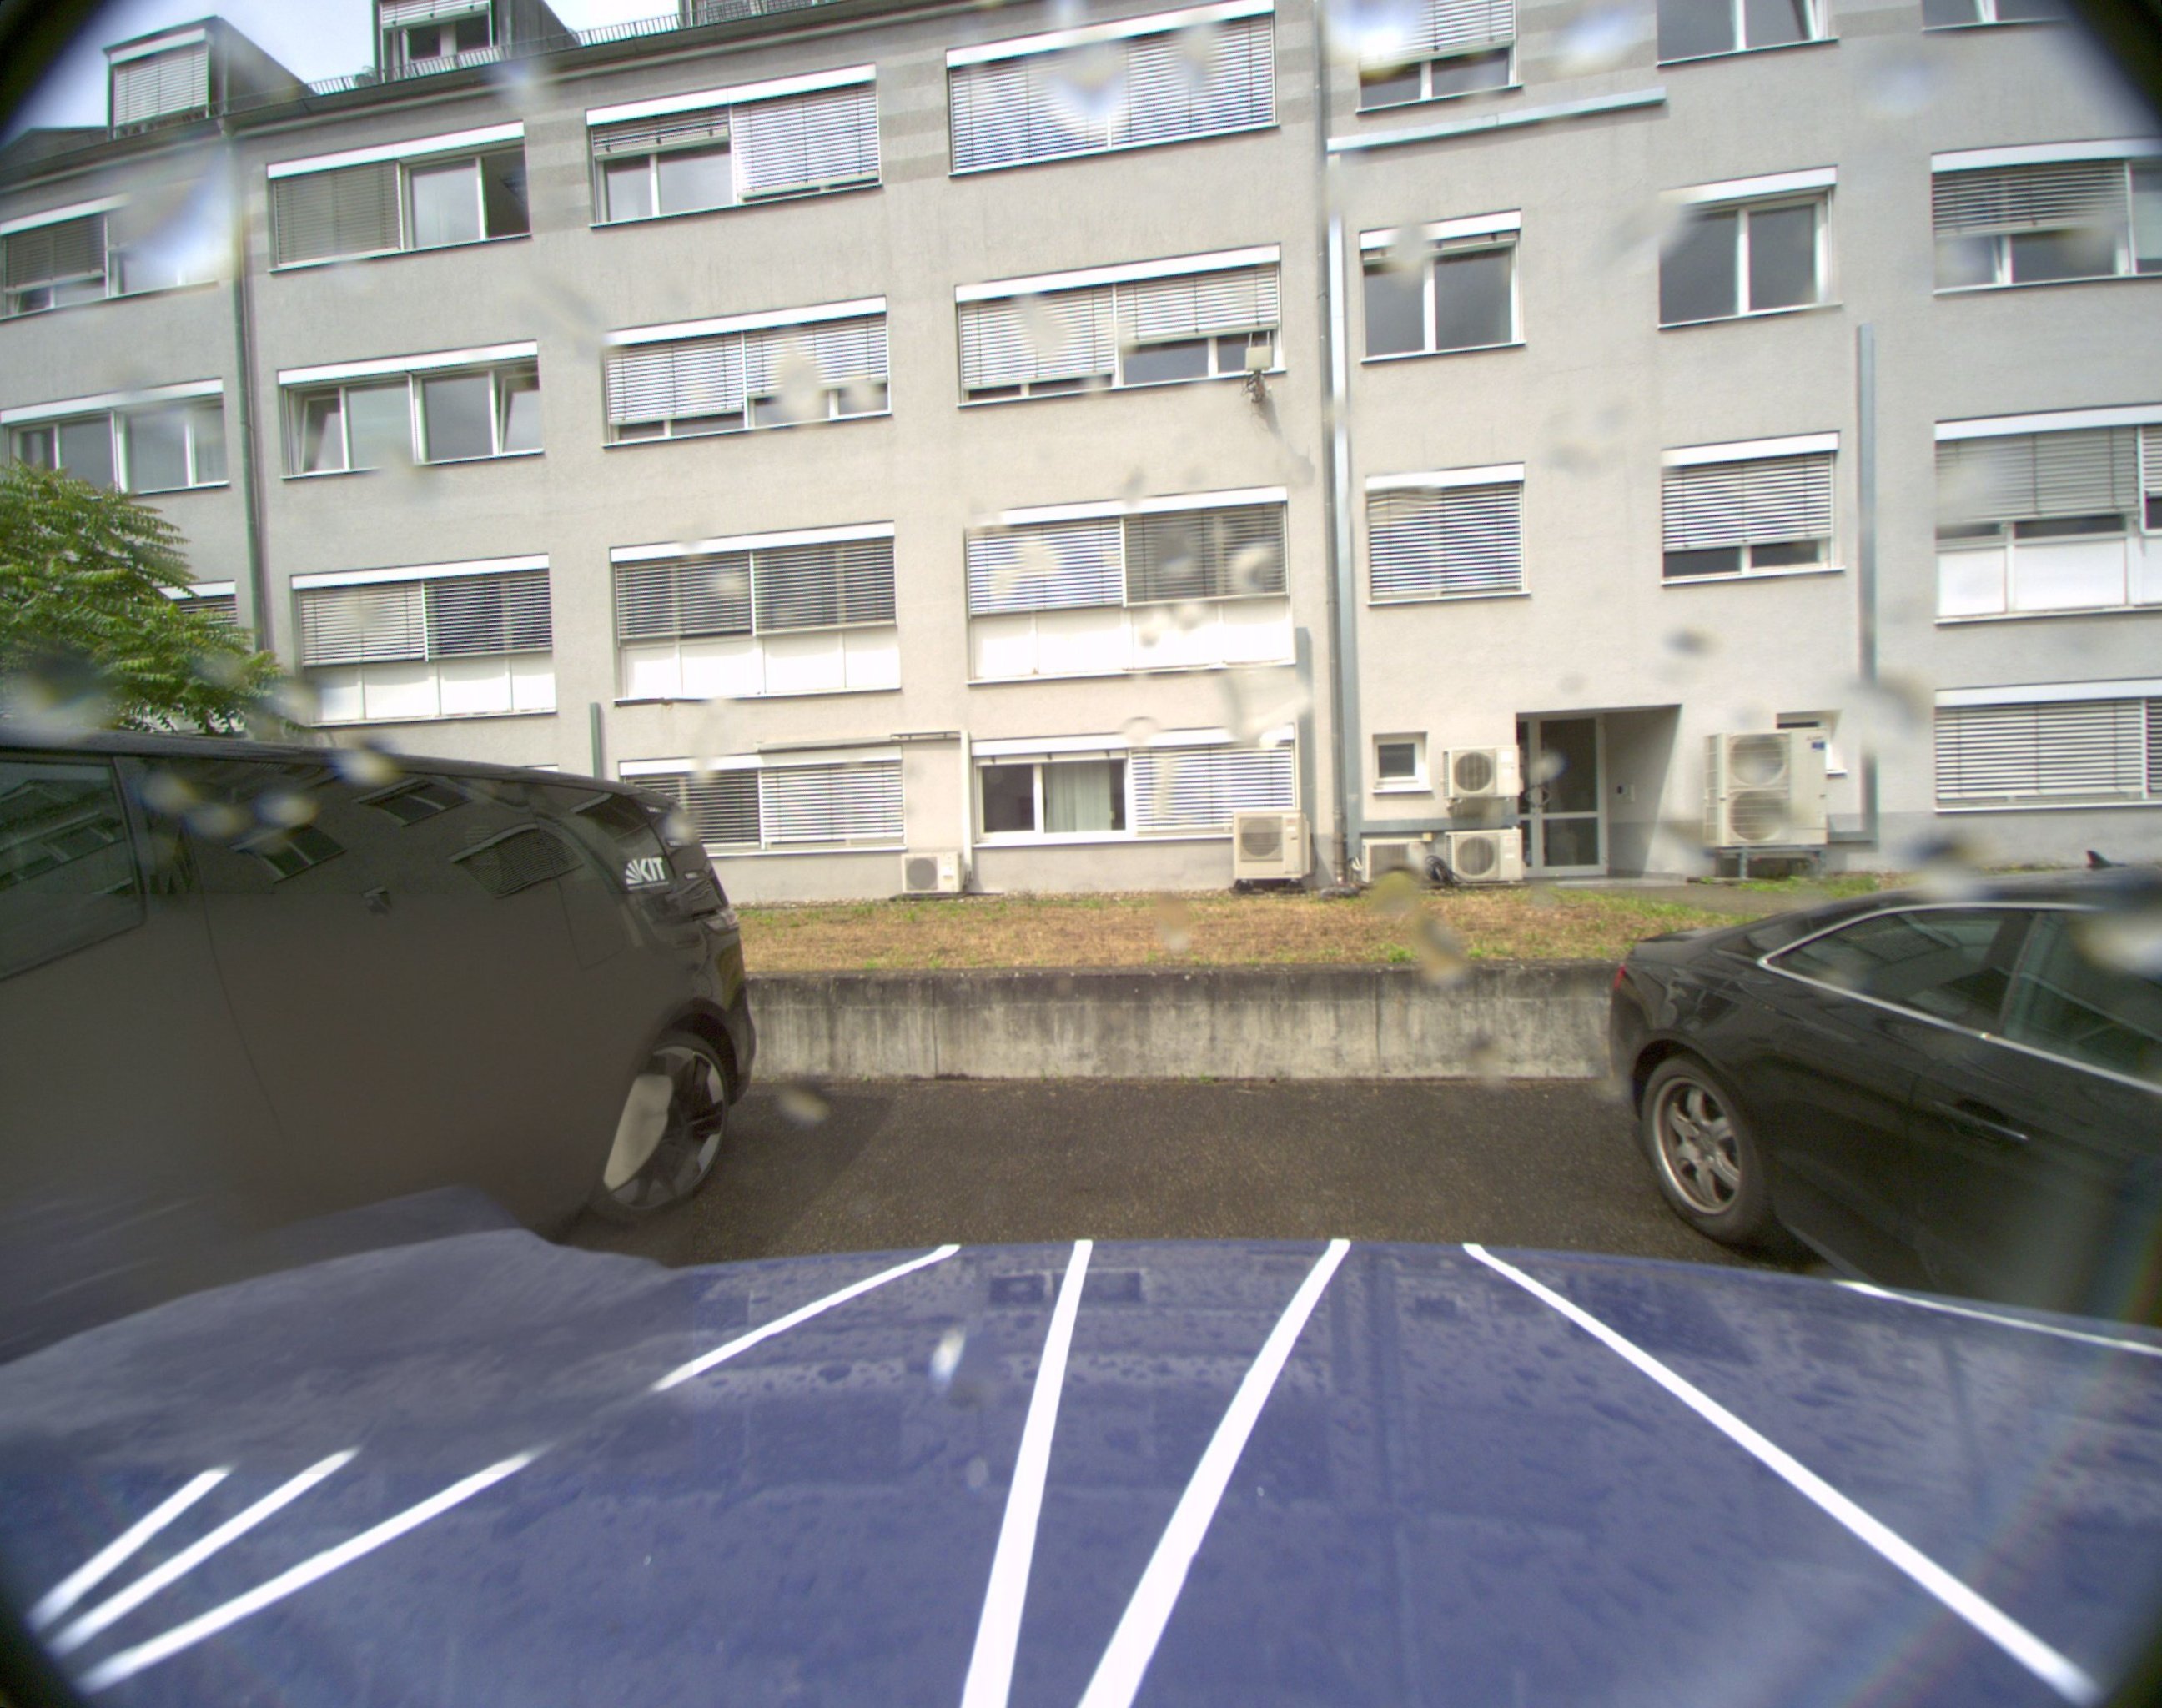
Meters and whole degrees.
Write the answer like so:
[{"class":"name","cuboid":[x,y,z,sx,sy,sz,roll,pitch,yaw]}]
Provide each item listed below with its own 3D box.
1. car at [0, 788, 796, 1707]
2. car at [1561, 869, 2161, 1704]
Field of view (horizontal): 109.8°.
[{"class":"car","cuboid":[-2.818,0.837,1.795,1.968,1.854,4.748,-2,2,7]},{"class":"car","cuboid":[2.830,0.863,1.208,1.761,1.344,4.530,-3,2,8]}]
